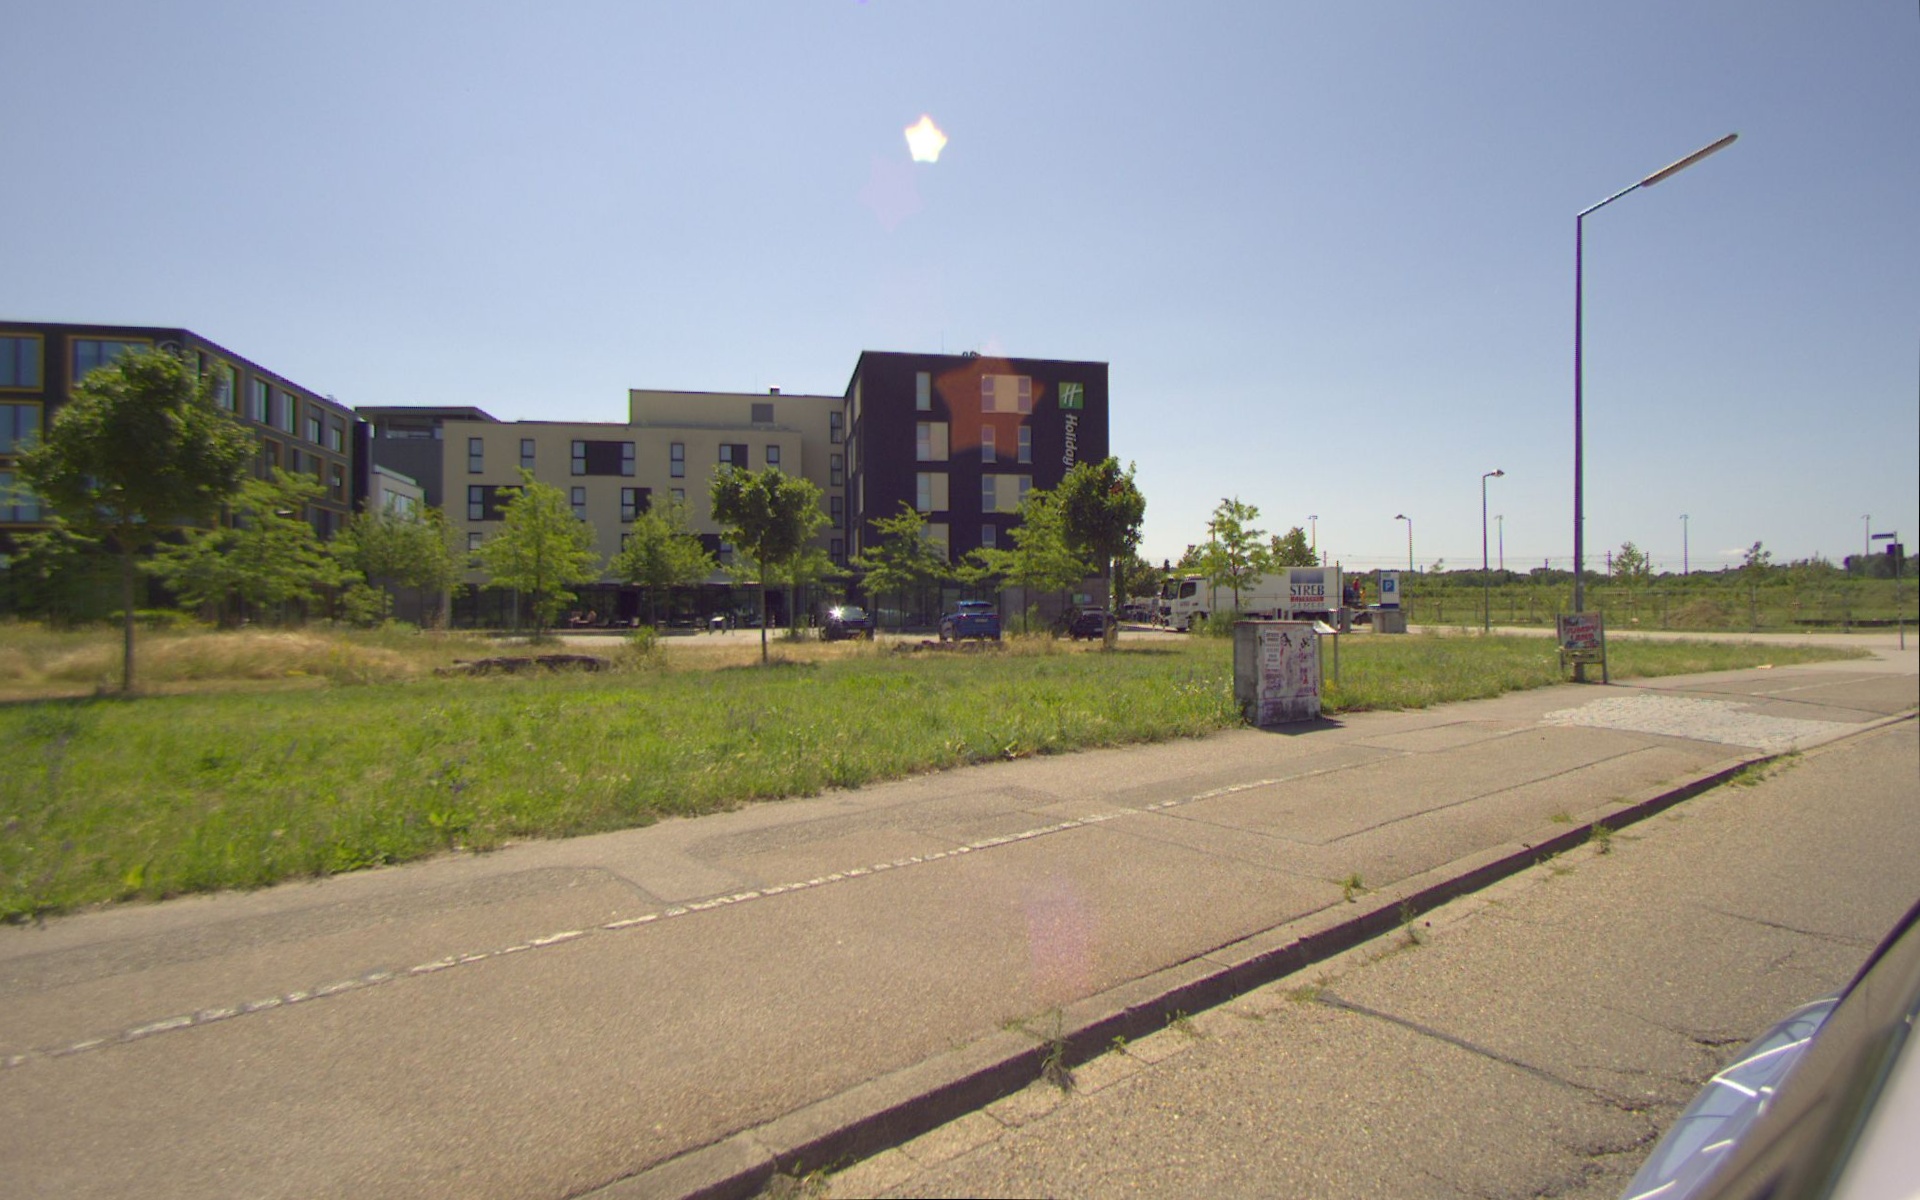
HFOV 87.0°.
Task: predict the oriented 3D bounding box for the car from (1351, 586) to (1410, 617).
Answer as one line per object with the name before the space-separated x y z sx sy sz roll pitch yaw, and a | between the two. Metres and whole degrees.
car | 28.369 0.131 68.422 1.842 2.039 3.922 0 0 -9

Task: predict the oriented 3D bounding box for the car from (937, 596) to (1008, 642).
car | 0.433 0.715 39.648 1.914 1.673 4.078 0 -1 -12

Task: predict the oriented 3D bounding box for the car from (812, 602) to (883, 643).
car | -4.363 0.818 38.720 1.921 1.463 4.134 0 0 -17

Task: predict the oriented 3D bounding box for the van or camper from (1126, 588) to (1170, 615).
van or camper | 20.244 0.193 109.455 2.512 2.811 6.437 0 0 -11

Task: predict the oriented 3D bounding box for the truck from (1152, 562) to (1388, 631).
truck | 16.424 -0.221 53.768 11.888 3.505 3.024 0 1 -10

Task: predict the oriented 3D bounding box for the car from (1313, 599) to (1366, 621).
car | 27.529 0.715 73.494 1.713 1.577 4.051 0 0 -11

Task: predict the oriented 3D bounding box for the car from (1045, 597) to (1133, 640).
car | 5.005 0.708 40.012 1.989 1.582 4.516 0 0 -13
